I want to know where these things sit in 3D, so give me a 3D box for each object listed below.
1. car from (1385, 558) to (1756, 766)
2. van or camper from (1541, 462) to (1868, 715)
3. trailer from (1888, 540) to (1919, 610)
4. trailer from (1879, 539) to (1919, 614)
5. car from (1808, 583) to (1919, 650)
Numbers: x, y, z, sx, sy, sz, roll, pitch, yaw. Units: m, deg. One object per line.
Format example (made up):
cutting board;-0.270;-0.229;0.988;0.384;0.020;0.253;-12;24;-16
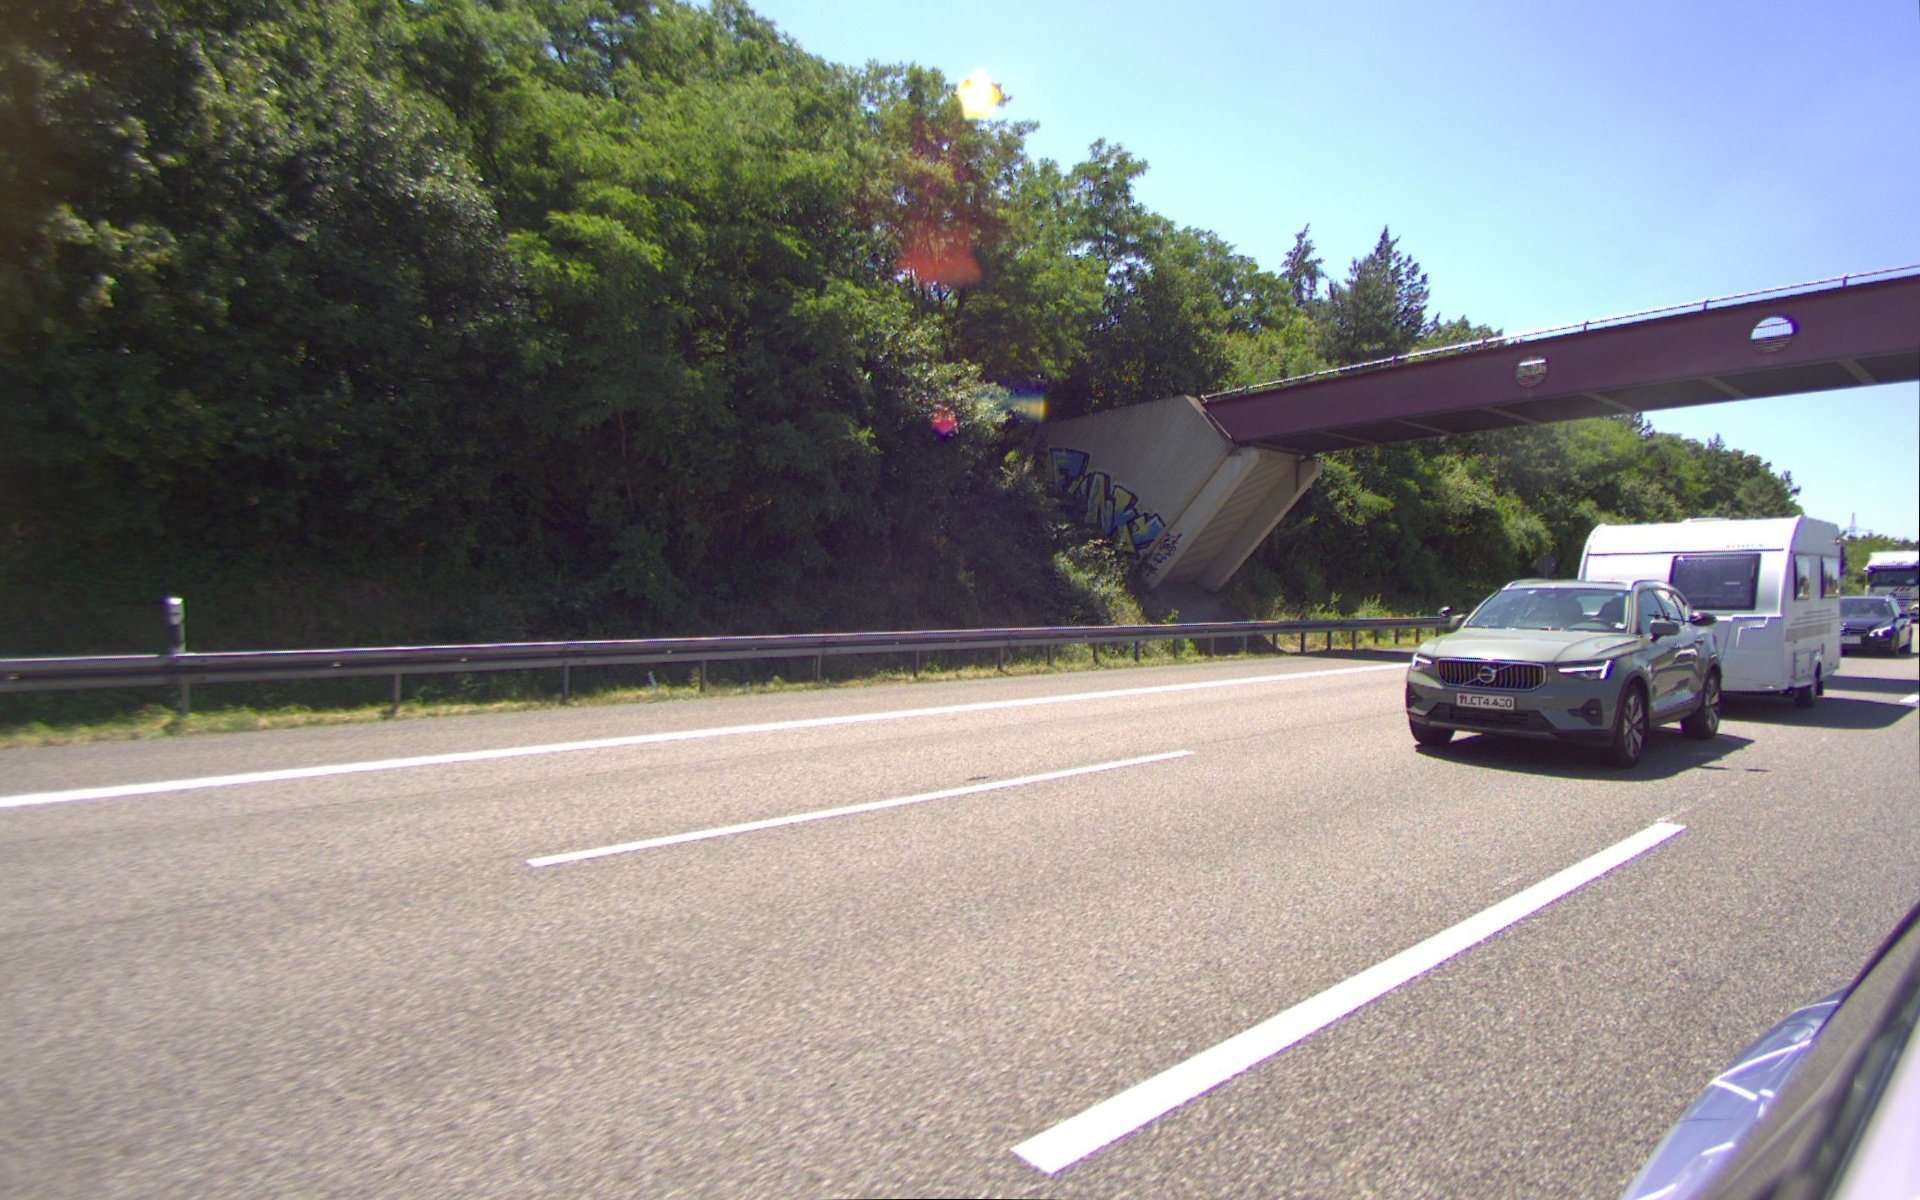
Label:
car;6.281;0.462;10.171;4.620;1.632;1.882;0;1;-41
van or camper;10.372;-0.155;13.832;6.242;2.708;2.442;0;1;-43
trailer;61.200;-1.479;63.946;12.965;4.154;2.732;0;1;-43
trailer;55.713;-1.317;58.861;6.673;4.154;2.717;0;1;-43
car;23.362;0.378;25.869;4.655;1.524;1.845;0;1;-41
